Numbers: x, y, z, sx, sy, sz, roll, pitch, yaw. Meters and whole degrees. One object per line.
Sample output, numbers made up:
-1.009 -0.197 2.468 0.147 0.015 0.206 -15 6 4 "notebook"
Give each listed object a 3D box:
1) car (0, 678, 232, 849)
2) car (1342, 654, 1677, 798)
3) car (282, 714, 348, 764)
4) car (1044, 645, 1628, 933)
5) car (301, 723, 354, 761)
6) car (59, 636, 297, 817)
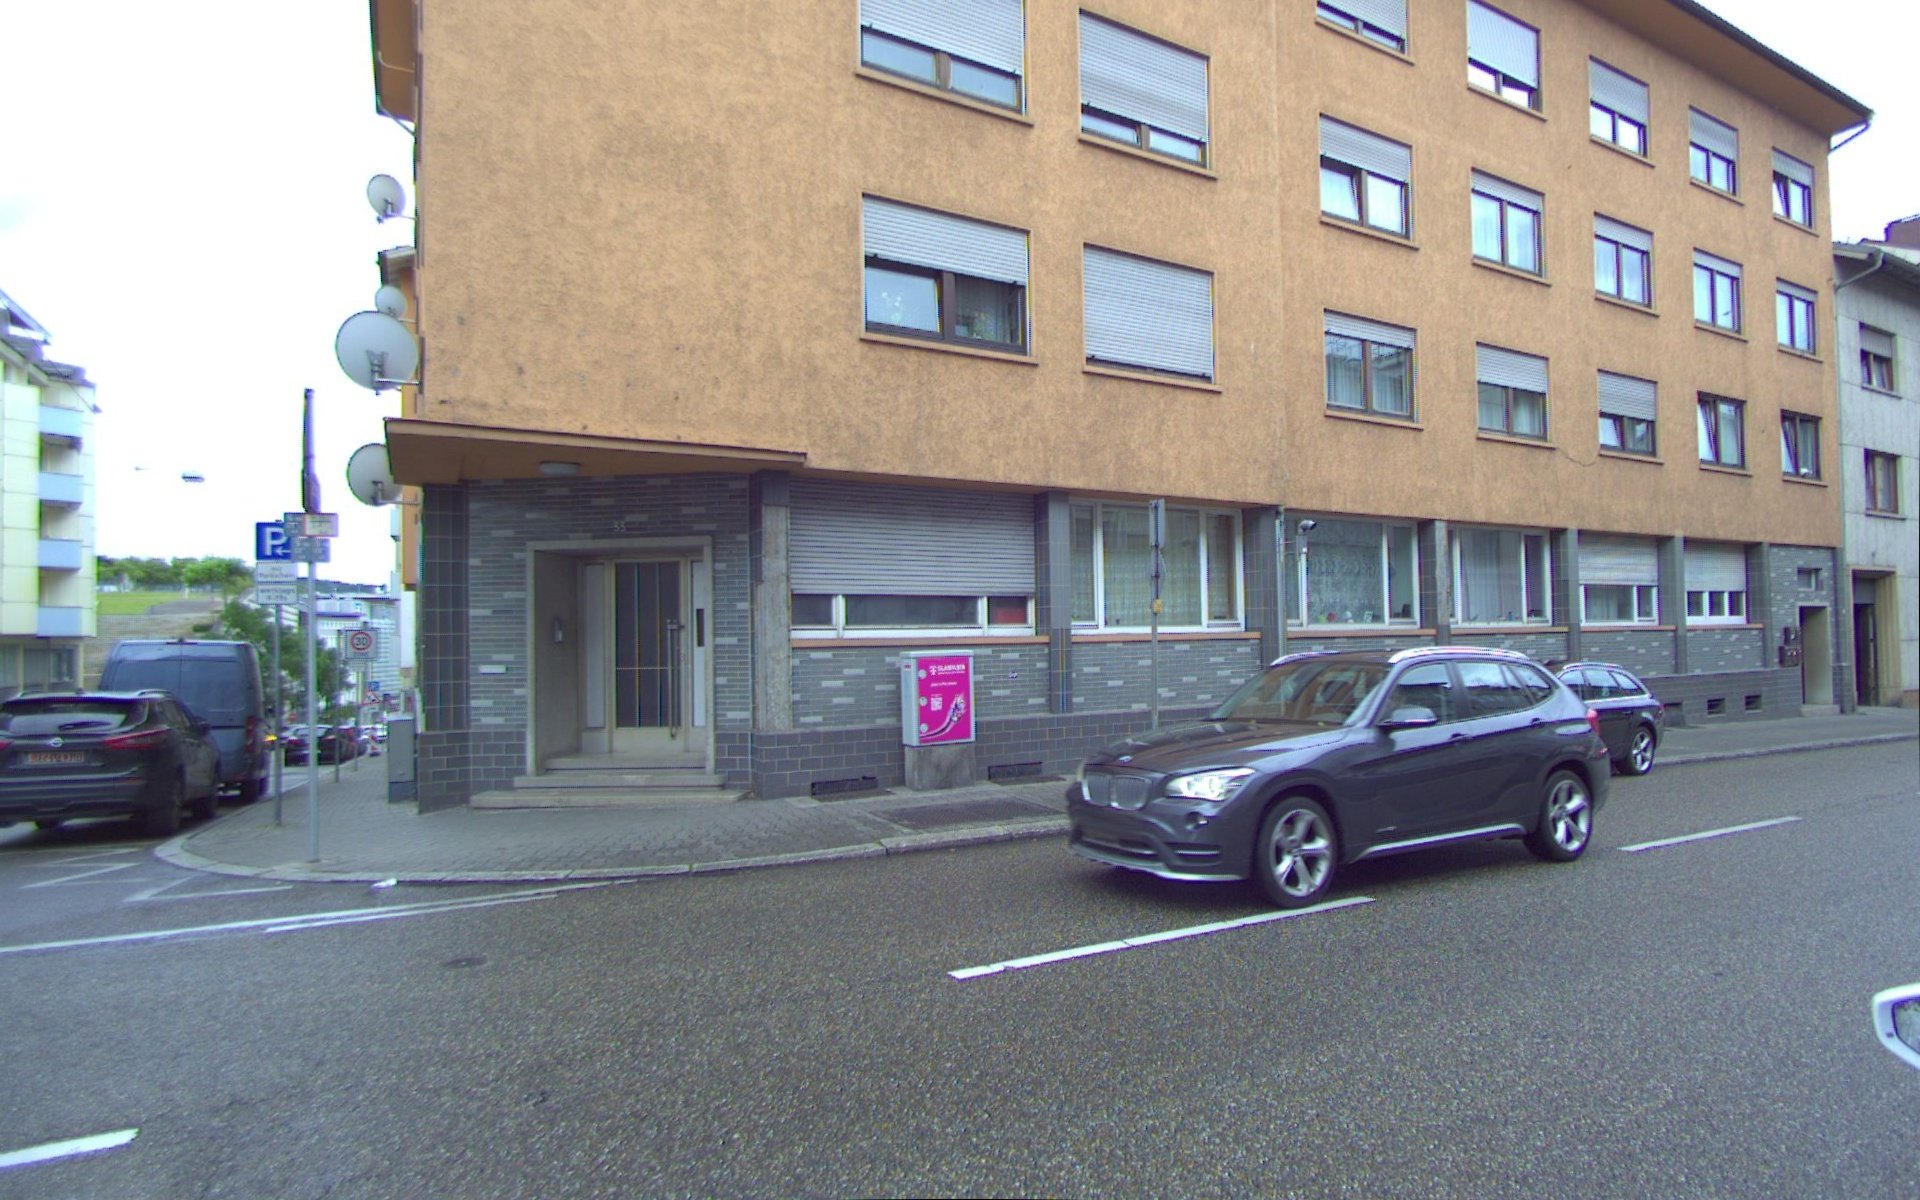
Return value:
-9.859 1.836 11.596 1.820 1.596 4.127 1 -8 -29 "car"
7.198 1.500 13.045 4.475 1.457 1.786 1 0 -31 "car"
-24.114 5.215 37.669 1.796 1.696 4.026 1 -7 -29 "car"
2.777 1.119 7.196 4.111 1.526 1.695 1 -5 -31 "car"
-27.937 6.256 44.458 1.702 1.513 4.026 1 -7 -29 "car"
-12.910 2.100 17.087 2.223 2.492 6.017 1 -7 -29 "car"
